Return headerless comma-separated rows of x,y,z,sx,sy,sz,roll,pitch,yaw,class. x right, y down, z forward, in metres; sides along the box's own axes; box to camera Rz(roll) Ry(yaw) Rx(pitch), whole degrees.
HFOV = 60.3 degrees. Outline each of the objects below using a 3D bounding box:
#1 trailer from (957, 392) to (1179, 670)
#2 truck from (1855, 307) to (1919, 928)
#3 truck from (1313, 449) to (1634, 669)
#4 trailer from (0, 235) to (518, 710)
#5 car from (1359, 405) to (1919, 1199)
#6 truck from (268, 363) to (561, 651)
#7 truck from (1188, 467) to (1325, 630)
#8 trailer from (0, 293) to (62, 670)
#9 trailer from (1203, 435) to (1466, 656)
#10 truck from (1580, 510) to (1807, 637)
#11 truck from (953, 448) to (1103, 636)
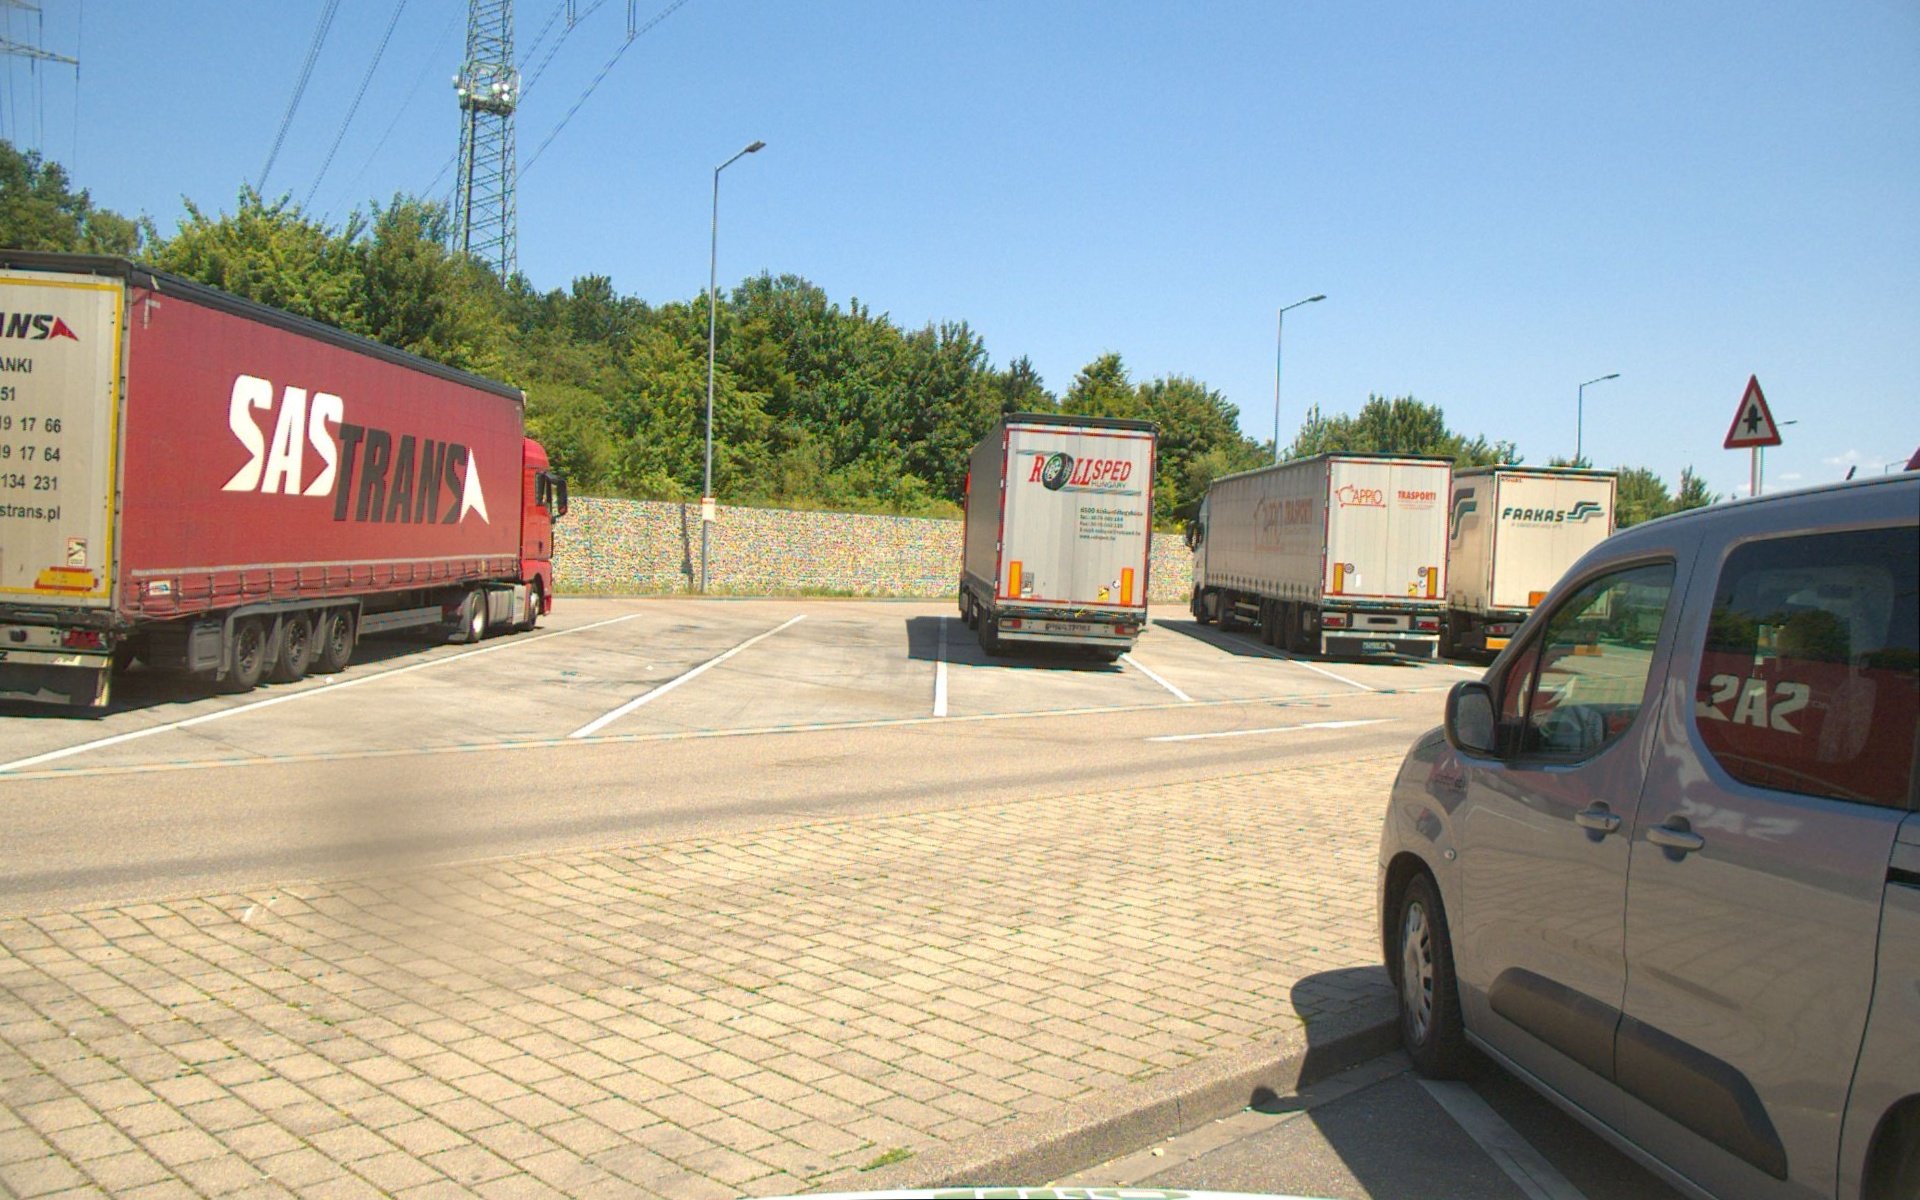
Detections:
1.698,-1.321,32.675,3.008,4.301,12.805,2,2,-2,trailer
4.978,0.126,4.934,1.952,2.669,5.305,1,1,3,truck
11.716,-0.964,39.990,2.846,4.195,14.525,3,1,-1,truck
-8.682,-1.264,21.074,2.694,4.128,13.285,1,1,-1,trailer
2.432,0.554,3.813,1.790,1.784,3.997,1,1,-4,car
-8.776,-1.426,27.536,2.687,4.152,6.828,1,1,-1,truck
8.071,-1.393,45.606,2.701,4.196,5.283,1,1,-1,truck
-12.410,-1.313,15.445,2.689,4.337,9.733,1,1,0,trailer
8.206,-1.191,38.605,2.818,4.196,13.569,1,1,-1,trailer
21.957,-0.818,50.181,2.963,3.497,8.529,1,1,-1,truck
1.465,-1.387,39.441,2.965,3.997,6.845,2,2,-2,truck
